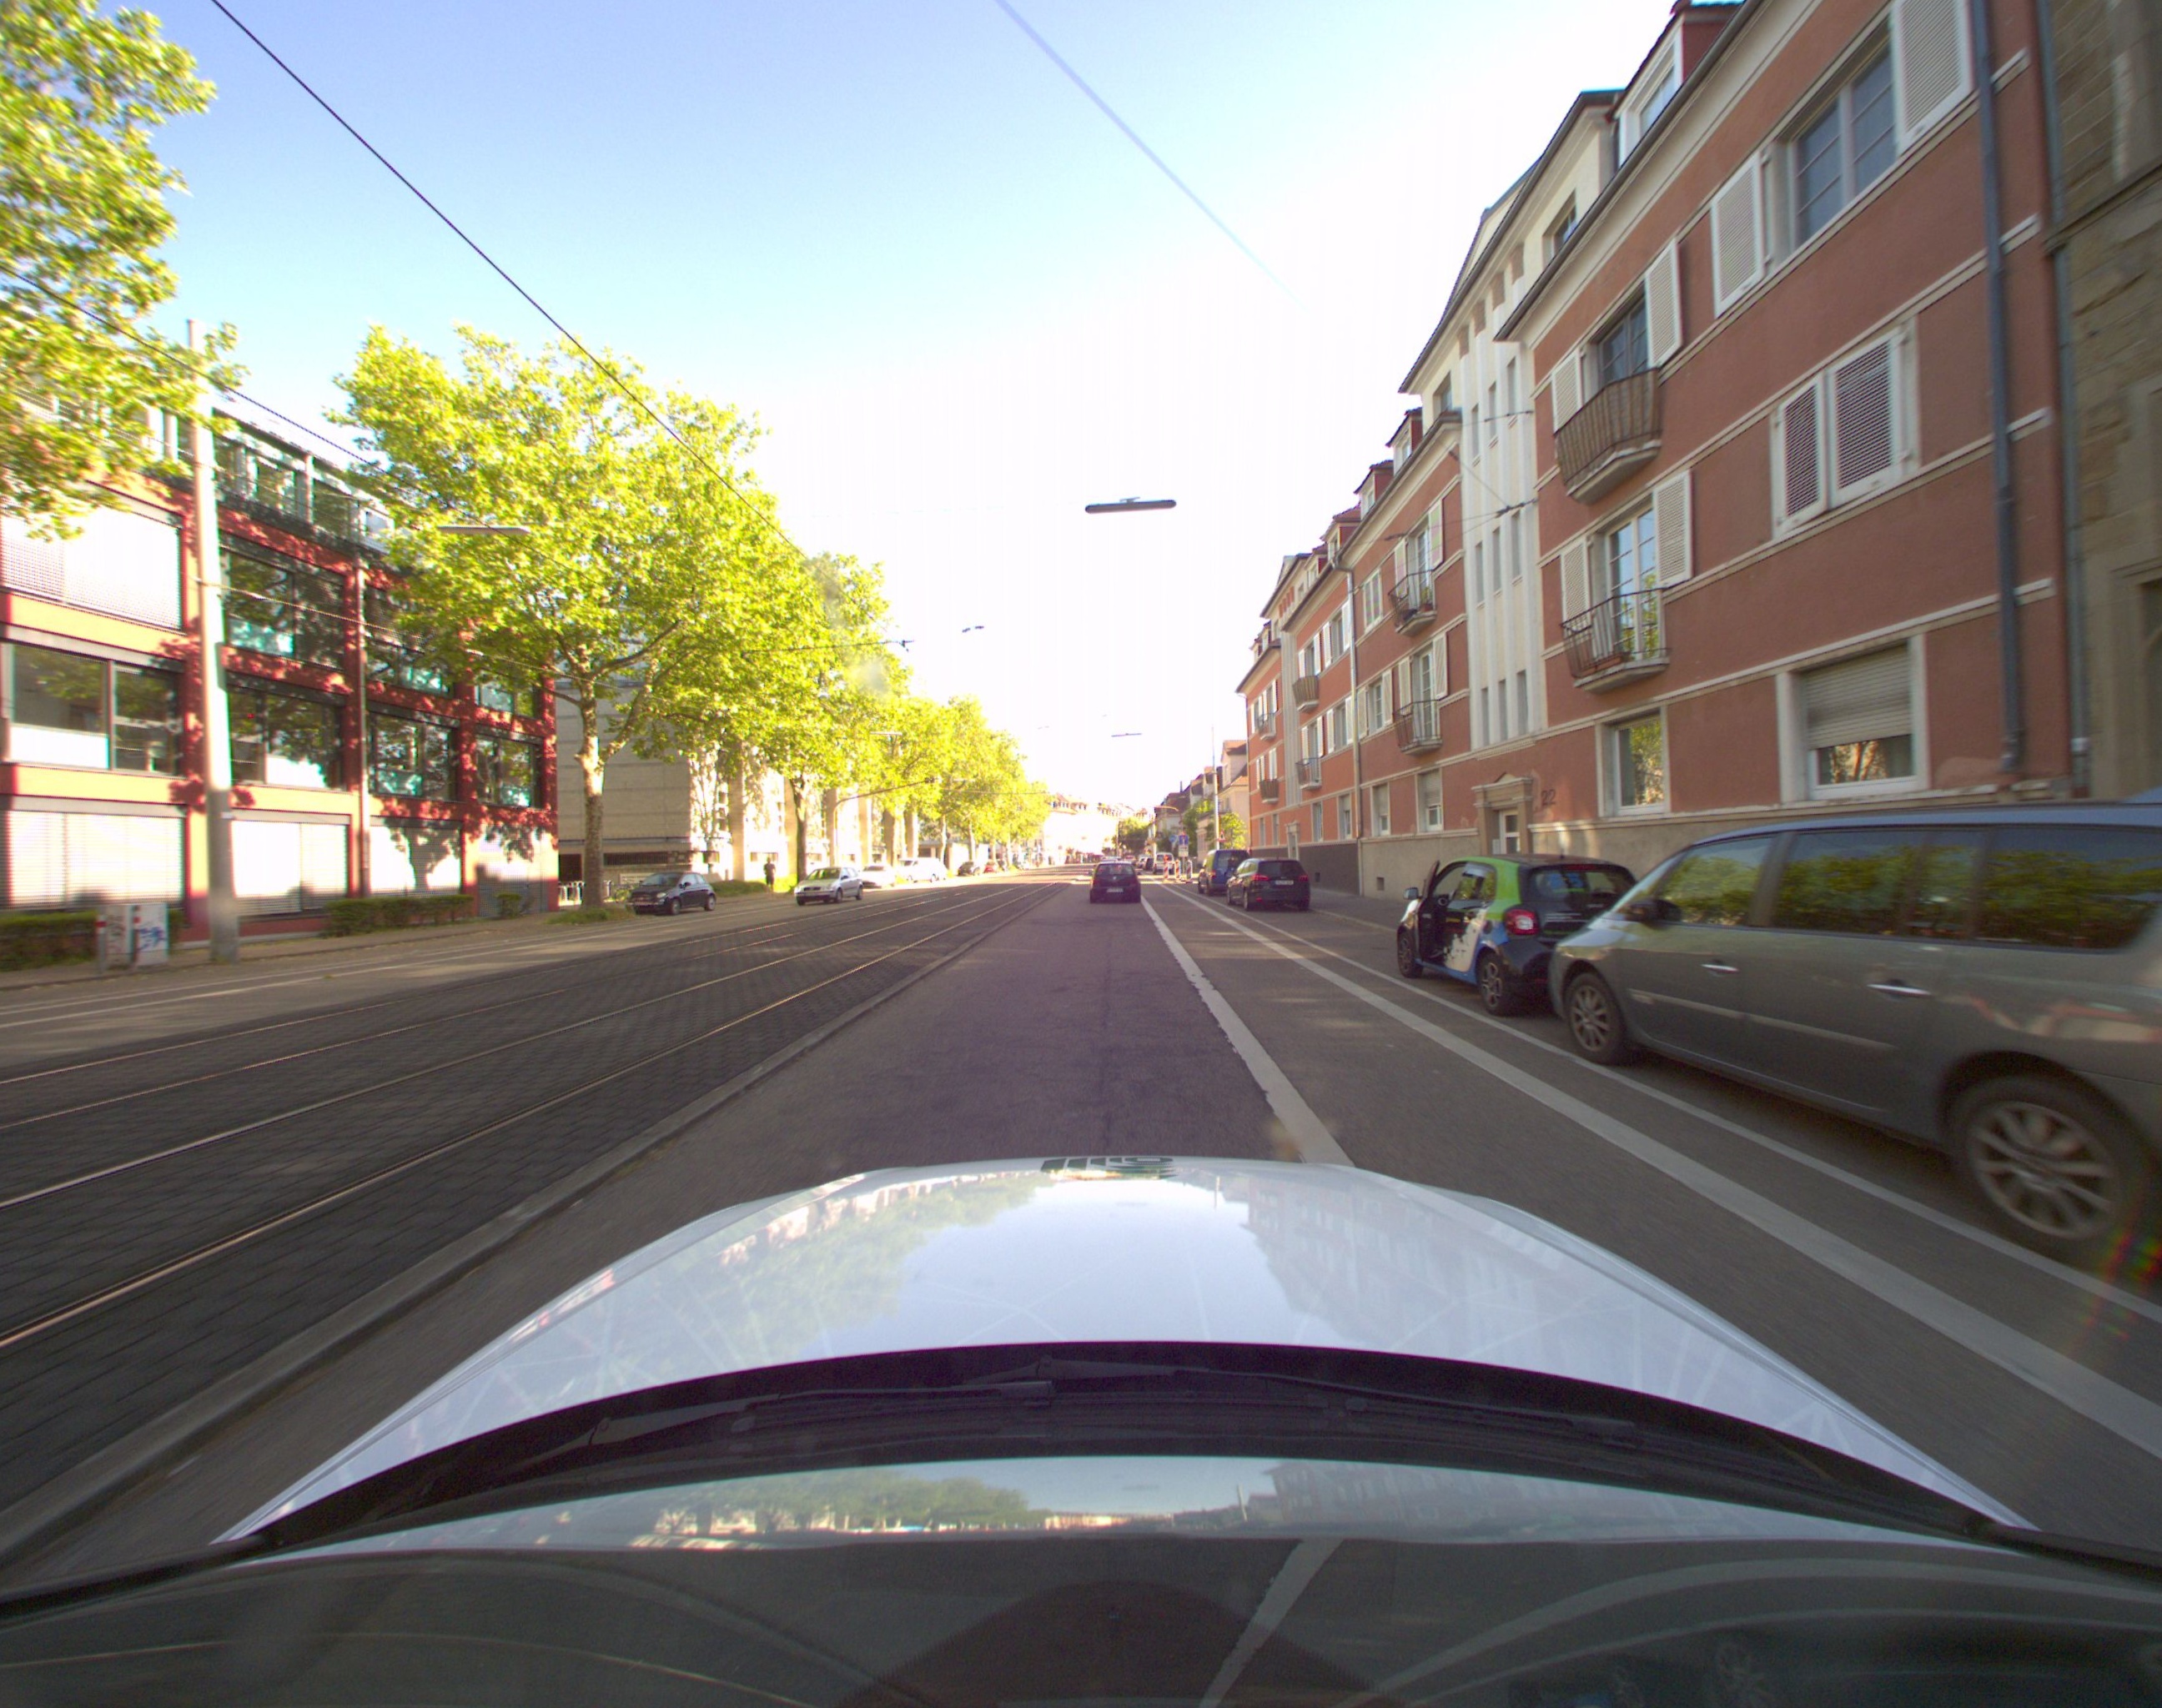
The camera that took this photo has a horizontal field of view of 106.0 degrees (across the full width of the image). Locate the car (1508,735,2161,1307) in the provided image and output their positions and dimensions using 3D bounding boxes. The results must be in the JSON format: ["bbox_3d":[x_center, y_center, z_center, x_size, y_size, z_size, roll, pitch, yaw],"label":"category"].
[{"bbox_3d":[4.454,0.540,4.560,1.746,1.855,4.818,-1,0,2],"label":"car"}]

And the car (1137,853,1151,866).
[{"bbox_3d":[8.501,0.748,110.250,1.810,1.799,4.002,-1,0,2],"label":"car"}]

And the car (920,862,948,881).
[{"bbox_3d":[-12.636,1.483,70.140,1.568,1.507,4.092,0,0,2],"label":"car"}]

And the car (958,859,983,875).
[{"bbox_3d":[-11.766,1.375,86.852,1.880,1.666,4.002,-1,0,2],"label":"car"}]

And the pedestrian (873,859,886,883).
[{"bbox_3d":[-15.502,1.329,62.625,0.793,1.820,0.670,0,0,2],"label":"pedestrian"}]

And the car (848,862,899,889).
[{"bbox_3d":[-13.285,1.359,52.331,2.005,1.572,4.694,0,0,1],"label":"car"}]

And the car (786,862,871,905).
[{"bbox_3d":[-9.977,1.118,32.514,1.745,1.518,4.076,-3,-1,5],"label":"car"}]

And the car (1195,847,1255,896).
[{"bbox_3d":[5.674,0.644,32.479,1.697,1.810,4.271,0,0,1],"label":"car"}]

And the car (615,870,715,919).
[{"bbox_3d":[-14.251,1.346,28.100,1.501,1.454,3.466,-2,0,3],"label":"car"}]

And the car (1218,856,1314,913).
[{"bbox_3d":[5.342,0.818,24.082,1.748,1.511,4.761,0,0,0],"label":"car"}]

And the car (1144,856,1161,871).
[{"bbox_3d":[7.675,1.005,87.634,1.654,1.526,4.038,-1,0,2],"label":"car"}]

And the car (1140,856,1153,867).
[{"bbox_3d":[8.482,0.947,105.510,1.574,1.375,4.002,-1,0,2],"label":"car"}]

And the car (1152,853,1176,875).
[{"bbox_3d":[6.878,0.808,67.881,1.752,1.838,3.549,0,0,2],"label":"car"}]

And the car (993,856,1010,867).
[{"bbox_3d":[-11.015,1.052,112.956,1.785,1.465,3.837,1,0,2],"label":"car"}]

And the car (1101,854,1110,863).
[{"bbox_3d":[4.520,0.821,150.432,1.630,1.472,3.731,-4,0,2],"label":"car"}]

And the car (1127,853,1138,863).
[{"bbox_3d":[8.365,0.655,132.434,1.630,1.472,3.731,-1,0,2],"label":"car"}]

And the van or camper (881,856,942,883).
[{"bbox_3d":[-12.963,1.131,62.684,2.042,1.949,5.217,0,0,22],"label":"van or camper"}]

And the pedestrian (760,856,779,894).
[{"bbox_3d":[-15.532,1.060,40.598,0.789,1.870,0.665,0,0,-26],"label":"pedestrian"}]

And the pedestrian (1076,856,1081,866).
[{"bbox_3d":[-0.650,1.782,211.927,1.091,2.659,0.959,0,0,1],"label":"pedestrian"}]

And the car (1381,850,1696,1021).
[{"bbox_3d":[4.763,0.730,9.127,1.625,1.511,3.720,0,0,3],"label":"car"}]

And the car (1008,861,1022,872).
[{"bbox_3d":[-10.784,1.964,132.360,1.877,1.669,3.805,0,0,1],"label":"car"}]

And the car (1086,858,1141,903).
[{"bbox_3d":[1.069,0.872,28.216,1.742,1.375,4.000,-2,0,1],"label":"car"}]

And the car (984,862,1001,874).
[{"bbox_3d":[-11.255,1.777,103.469,1.564,1.533,3.574,-1,-1,2],"label":"car"}]

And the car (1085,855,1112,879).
[{"bbox_3d":[1.231,0.879,56.783,1.741,1.538,3.894,-2,0,3],"label":"car"}]

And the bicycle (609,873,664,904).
[{"bbox_3d":[-18.863,1.467,34.571,2.000,1.278,0.664,0,0,2],"label":"bicycle"}]
